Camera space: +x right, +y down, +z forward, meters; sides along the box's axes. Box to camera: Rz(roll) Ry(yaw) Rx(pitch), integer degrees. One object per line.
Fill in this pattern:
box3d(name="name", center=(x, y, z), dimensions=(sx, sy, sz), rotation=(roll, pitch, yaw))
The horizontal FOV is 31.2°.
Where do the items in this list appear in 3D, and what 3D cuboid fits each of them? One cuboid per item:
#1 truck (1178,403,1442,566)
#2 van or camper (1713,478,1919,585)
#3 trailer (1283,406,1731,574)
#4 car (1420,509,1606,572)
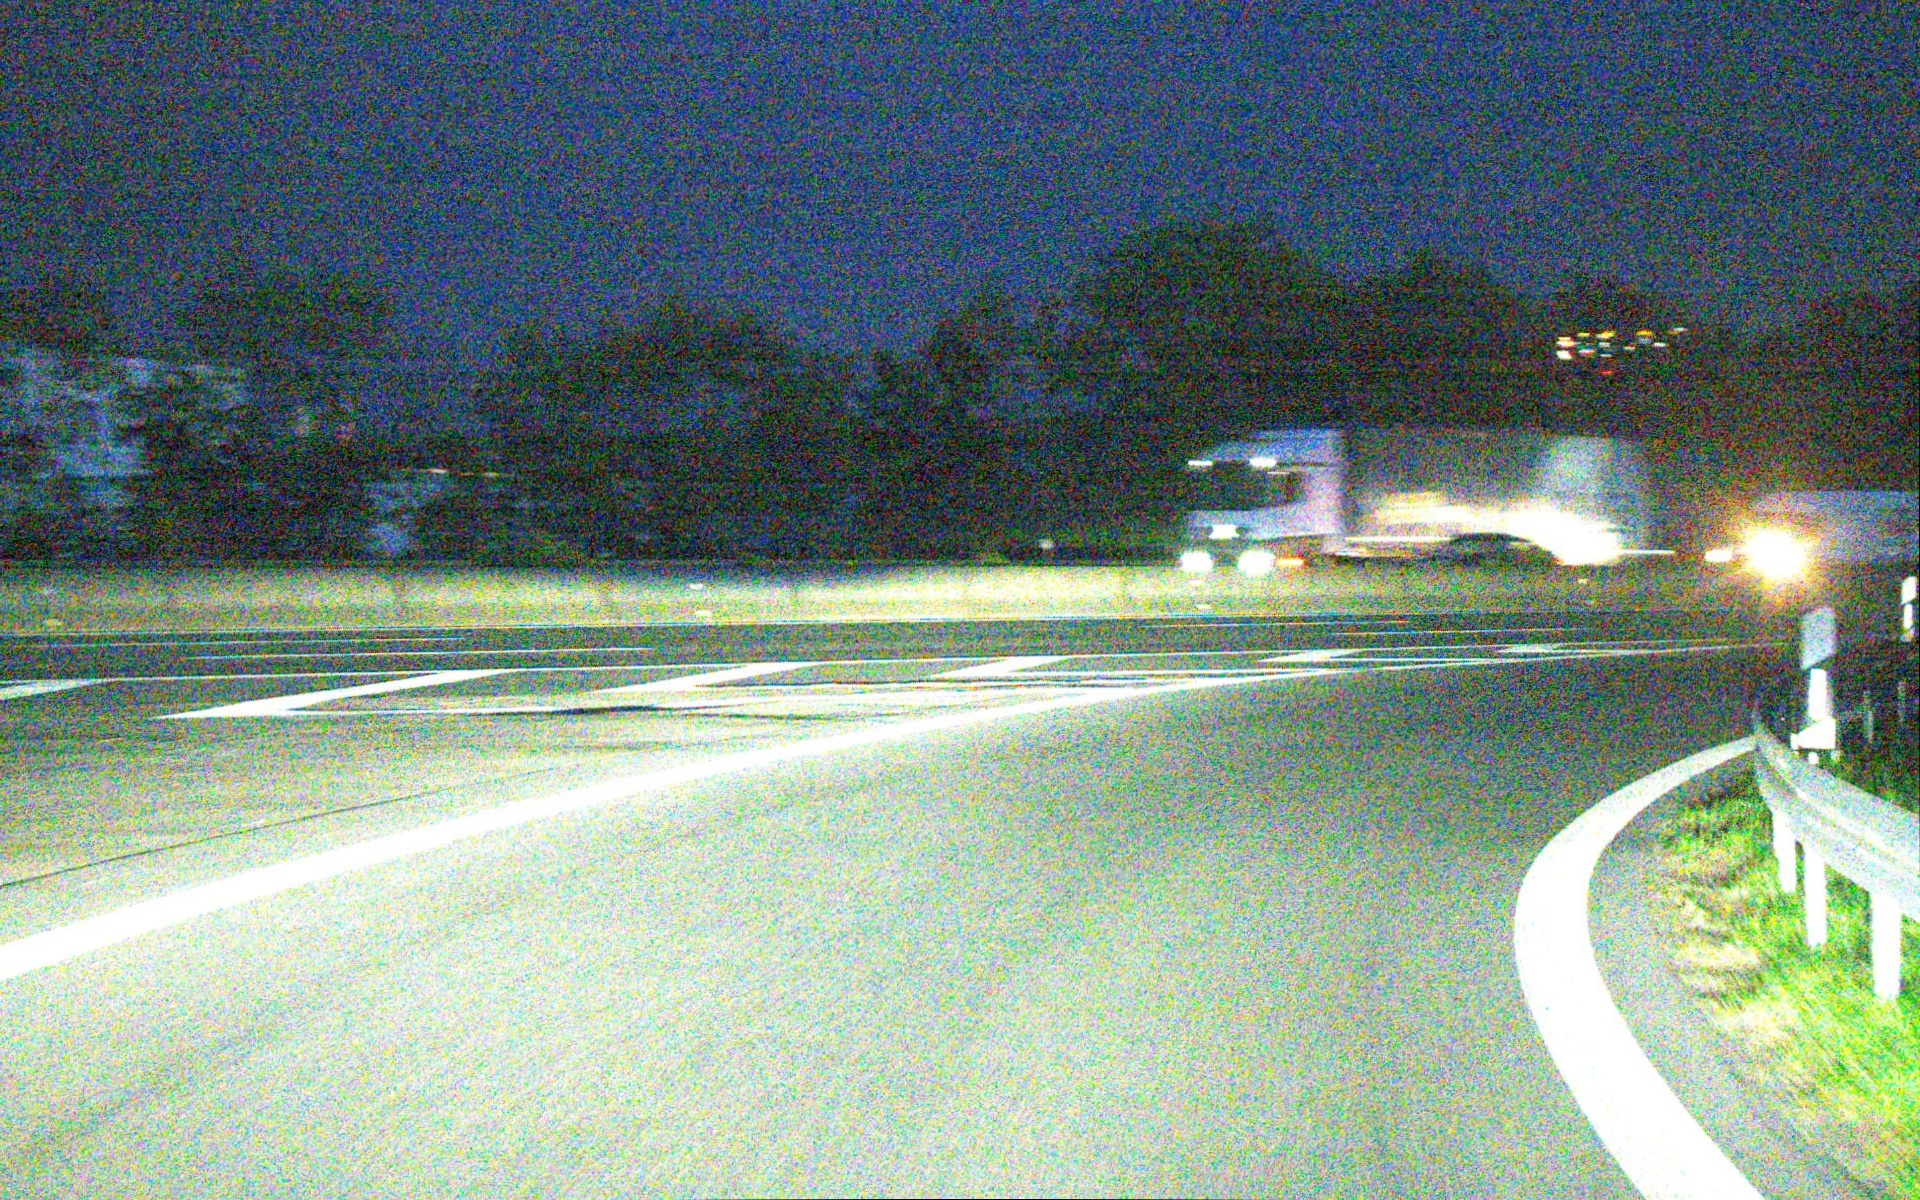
box3d(name="truck", center=(8.090, -2.607, 79.050), dimensions=(5.946, 3.583, 2.766), rotation=(0, 2, -43))
box3d(name="van or camper", center=(21.649, -1.675, 85.427), dimensions=(7.164, 2.541, 1.999), rotation=(0, 2, -43))
box3d(name="trailer", center=(13.588, -2.585, 83.909), dimensions=(13.721, 3.803, 2.766), rotation=(0, 2, -42))
box3d(name="car", center=(11.651, -1.265, 72.352), dimensions=(3.988, 1.273, 1.629), rotation=(-1, 2, -40))
